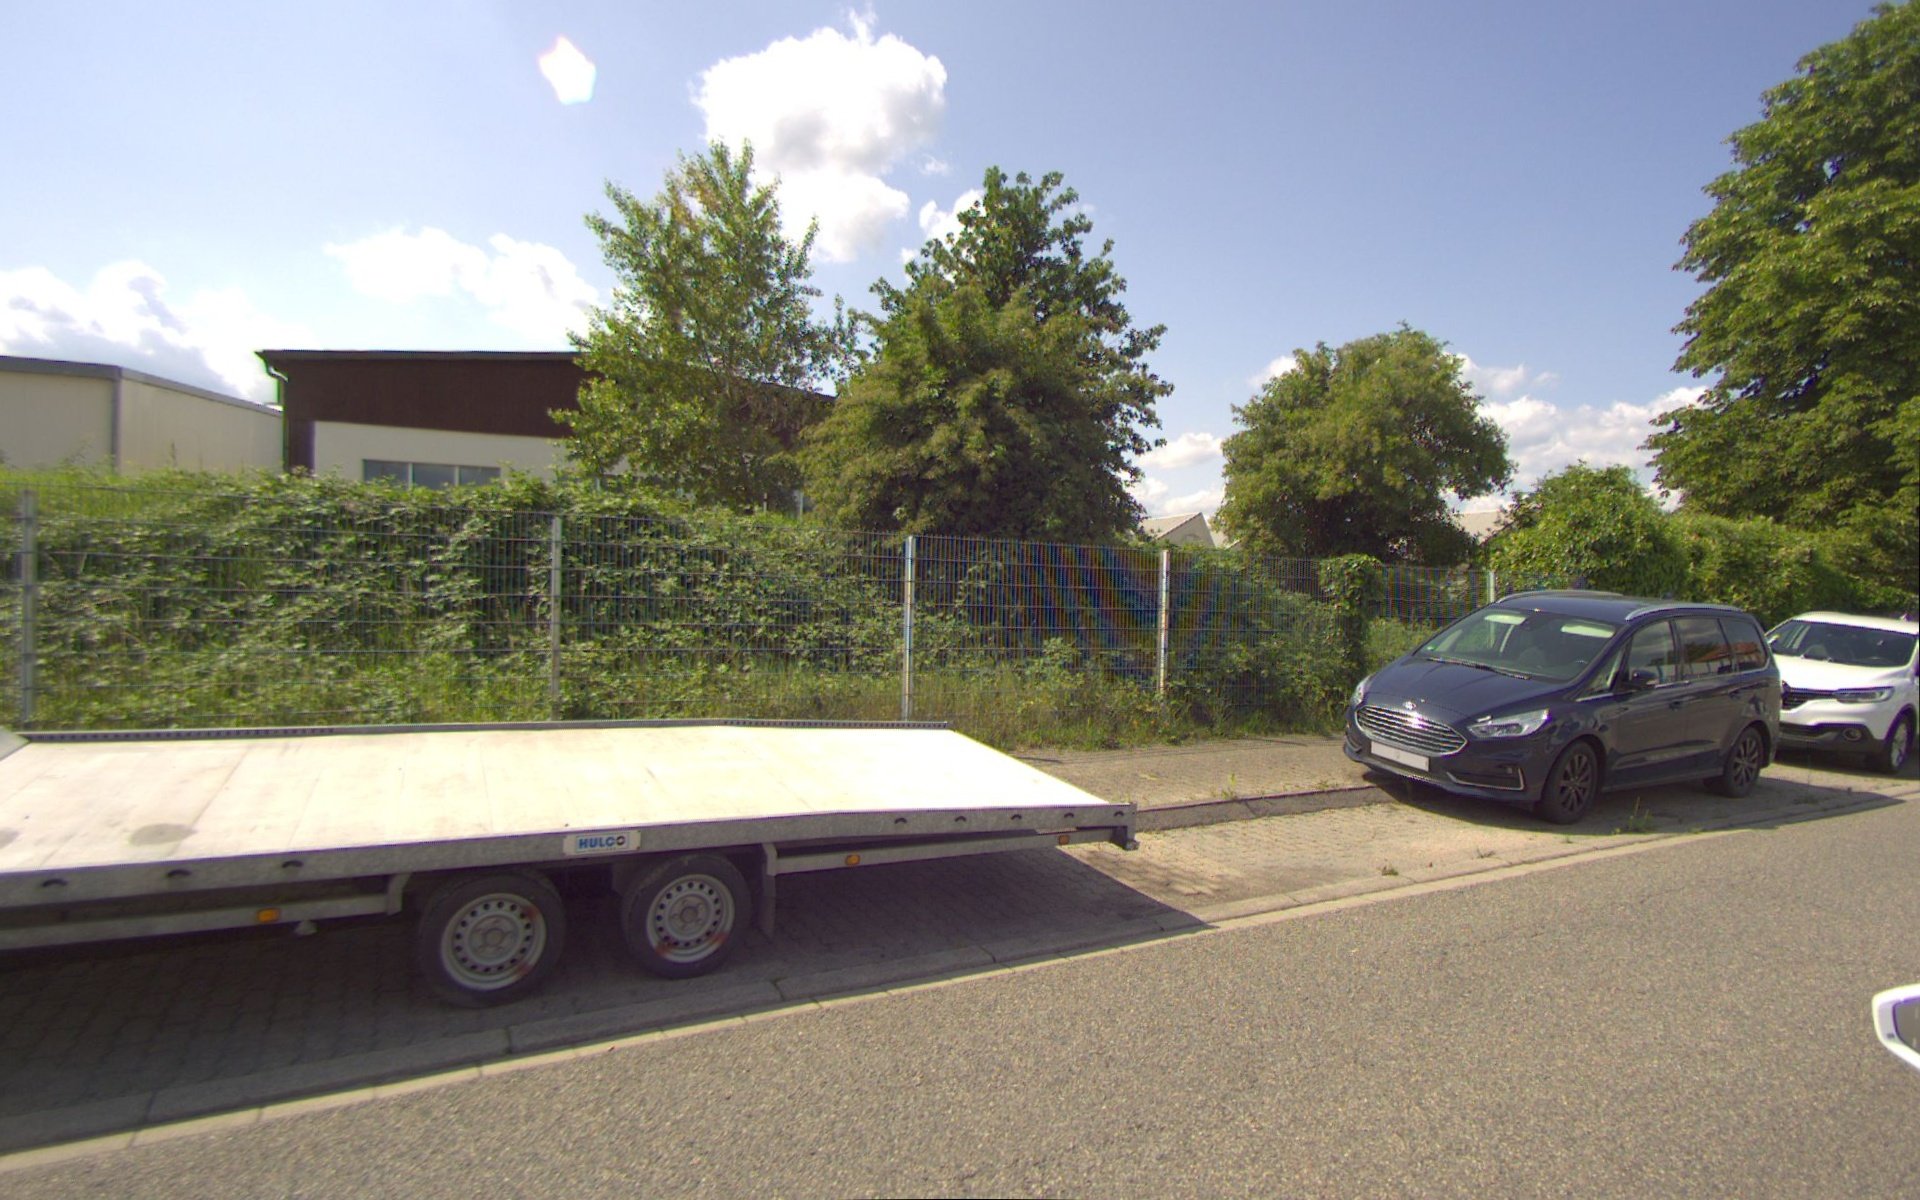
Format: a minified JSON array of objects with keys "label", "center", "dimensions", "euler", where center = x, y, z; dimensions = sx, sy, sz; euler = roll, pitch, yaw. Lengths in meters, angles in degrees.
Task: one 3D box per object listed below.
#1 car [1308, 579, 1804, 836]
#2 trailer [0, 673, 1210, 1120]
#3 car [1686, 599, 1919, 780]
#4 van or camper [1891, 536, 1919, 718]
[{"label":"car","center":[5.489,0.793,9.081],"dimensions":[4.680,1.817,1.818],"euler":[1,0,-31]},{"label":"trailer","center":[-2.390,0.968,4.322],"dimensions":[7.044,0.895,2.261],"euler":[2,5,-29]},{"label":"car","center":[10.815,0.961,12.186],"dimensions":[4.397,1.715,1.673],"euler":[1,5,-33]},{"label":"van or camper","center":[18.360,0.571,16.734],"dimensions":[6.756,2.841,2.250],"euler":[1,4,-32]}]
